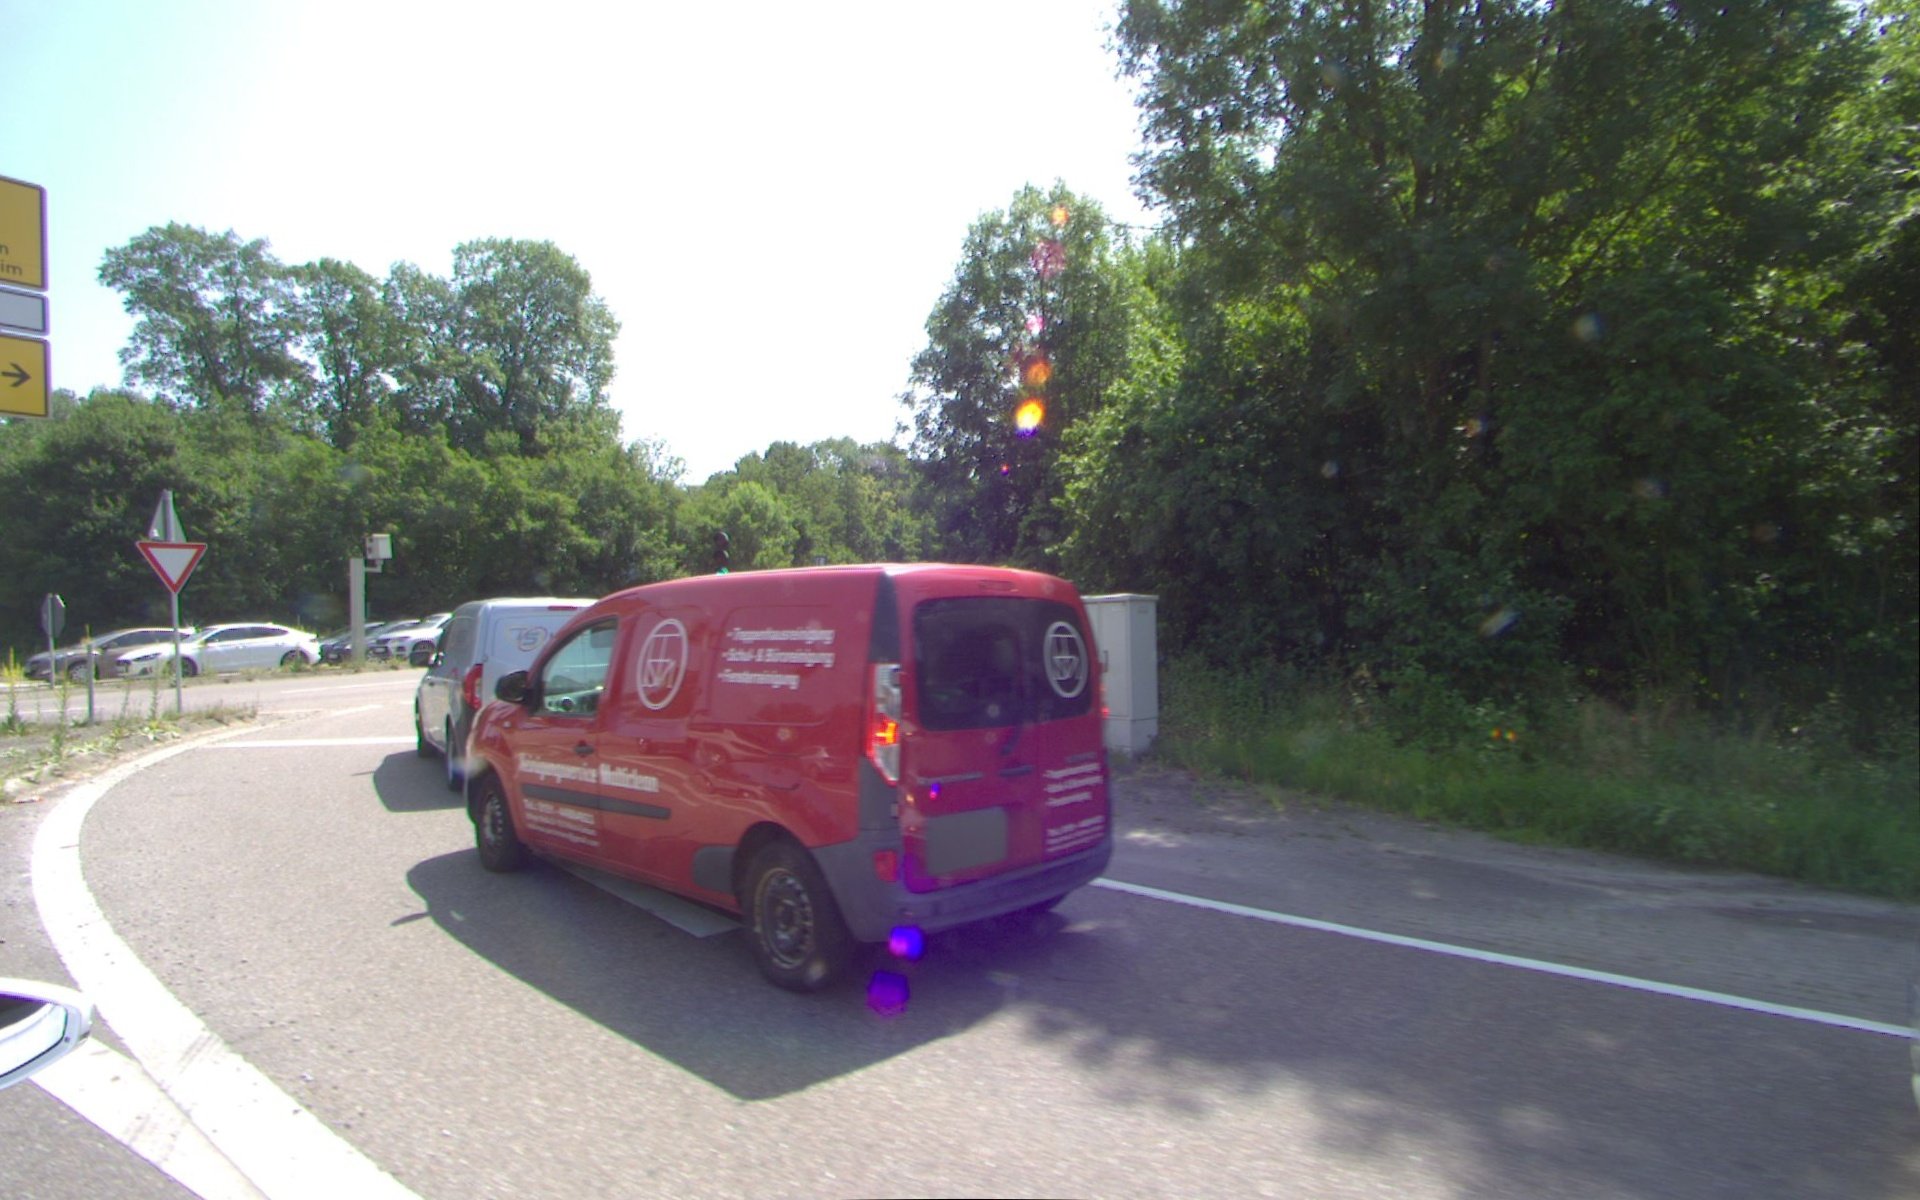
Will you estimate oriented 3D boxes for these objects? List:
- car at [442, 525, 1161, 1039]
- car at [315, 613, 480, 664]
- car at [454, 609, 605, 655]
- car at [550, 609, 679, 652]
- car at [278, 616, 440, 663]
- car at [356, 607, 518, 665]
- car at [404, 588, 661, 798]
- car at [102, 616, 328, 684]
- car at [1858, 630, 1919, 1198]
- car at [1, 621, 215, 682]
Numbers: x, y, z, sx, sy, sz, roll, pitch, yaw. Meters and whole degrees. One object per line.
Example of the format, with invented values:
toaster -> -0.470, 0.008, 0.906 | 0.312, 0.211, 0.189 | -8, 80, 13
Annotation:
car -> -1.226, 0.714, 5.789 | 4.448, 1.846, 1.782 | -1, -2, 43
car -> -18.989, 1.273, 33.998 | 2.092, 1.555, 4.410 | -2, -1, 32
car -> -16.678, 1.219, 39.049 | 2.108, 1.554, 5.117 | -2, 0, 32
car -> -12.938, 1.122, 37.762 | 1.946, 1.433, 4.321 | -2, 0, 33
car -> -21.774, 1.401, 36.440 | 2.082, 1.518, 4.607 | -2, -1, 32
car -> -16.640, 1.111, 32.055 | 1.972, 1.681, 4.163 | -1, 0, 32
car -> -4.743, 0.824, 10.760 | 1.739, 1.796, 4.085 | -1, 0, -35
car -> -19.675, 1.257, 26.654 | 1.971, 1.555, 4.412 | -1, 0, 30
car -> 4.041, 0.767, 1.394 | 3.947, 1.453, 1.685 | -1, -3, 35
car -> -23.471, 1.374, 27.737 | 1.966, 1.466, 4.086 | -1, 0, 30
